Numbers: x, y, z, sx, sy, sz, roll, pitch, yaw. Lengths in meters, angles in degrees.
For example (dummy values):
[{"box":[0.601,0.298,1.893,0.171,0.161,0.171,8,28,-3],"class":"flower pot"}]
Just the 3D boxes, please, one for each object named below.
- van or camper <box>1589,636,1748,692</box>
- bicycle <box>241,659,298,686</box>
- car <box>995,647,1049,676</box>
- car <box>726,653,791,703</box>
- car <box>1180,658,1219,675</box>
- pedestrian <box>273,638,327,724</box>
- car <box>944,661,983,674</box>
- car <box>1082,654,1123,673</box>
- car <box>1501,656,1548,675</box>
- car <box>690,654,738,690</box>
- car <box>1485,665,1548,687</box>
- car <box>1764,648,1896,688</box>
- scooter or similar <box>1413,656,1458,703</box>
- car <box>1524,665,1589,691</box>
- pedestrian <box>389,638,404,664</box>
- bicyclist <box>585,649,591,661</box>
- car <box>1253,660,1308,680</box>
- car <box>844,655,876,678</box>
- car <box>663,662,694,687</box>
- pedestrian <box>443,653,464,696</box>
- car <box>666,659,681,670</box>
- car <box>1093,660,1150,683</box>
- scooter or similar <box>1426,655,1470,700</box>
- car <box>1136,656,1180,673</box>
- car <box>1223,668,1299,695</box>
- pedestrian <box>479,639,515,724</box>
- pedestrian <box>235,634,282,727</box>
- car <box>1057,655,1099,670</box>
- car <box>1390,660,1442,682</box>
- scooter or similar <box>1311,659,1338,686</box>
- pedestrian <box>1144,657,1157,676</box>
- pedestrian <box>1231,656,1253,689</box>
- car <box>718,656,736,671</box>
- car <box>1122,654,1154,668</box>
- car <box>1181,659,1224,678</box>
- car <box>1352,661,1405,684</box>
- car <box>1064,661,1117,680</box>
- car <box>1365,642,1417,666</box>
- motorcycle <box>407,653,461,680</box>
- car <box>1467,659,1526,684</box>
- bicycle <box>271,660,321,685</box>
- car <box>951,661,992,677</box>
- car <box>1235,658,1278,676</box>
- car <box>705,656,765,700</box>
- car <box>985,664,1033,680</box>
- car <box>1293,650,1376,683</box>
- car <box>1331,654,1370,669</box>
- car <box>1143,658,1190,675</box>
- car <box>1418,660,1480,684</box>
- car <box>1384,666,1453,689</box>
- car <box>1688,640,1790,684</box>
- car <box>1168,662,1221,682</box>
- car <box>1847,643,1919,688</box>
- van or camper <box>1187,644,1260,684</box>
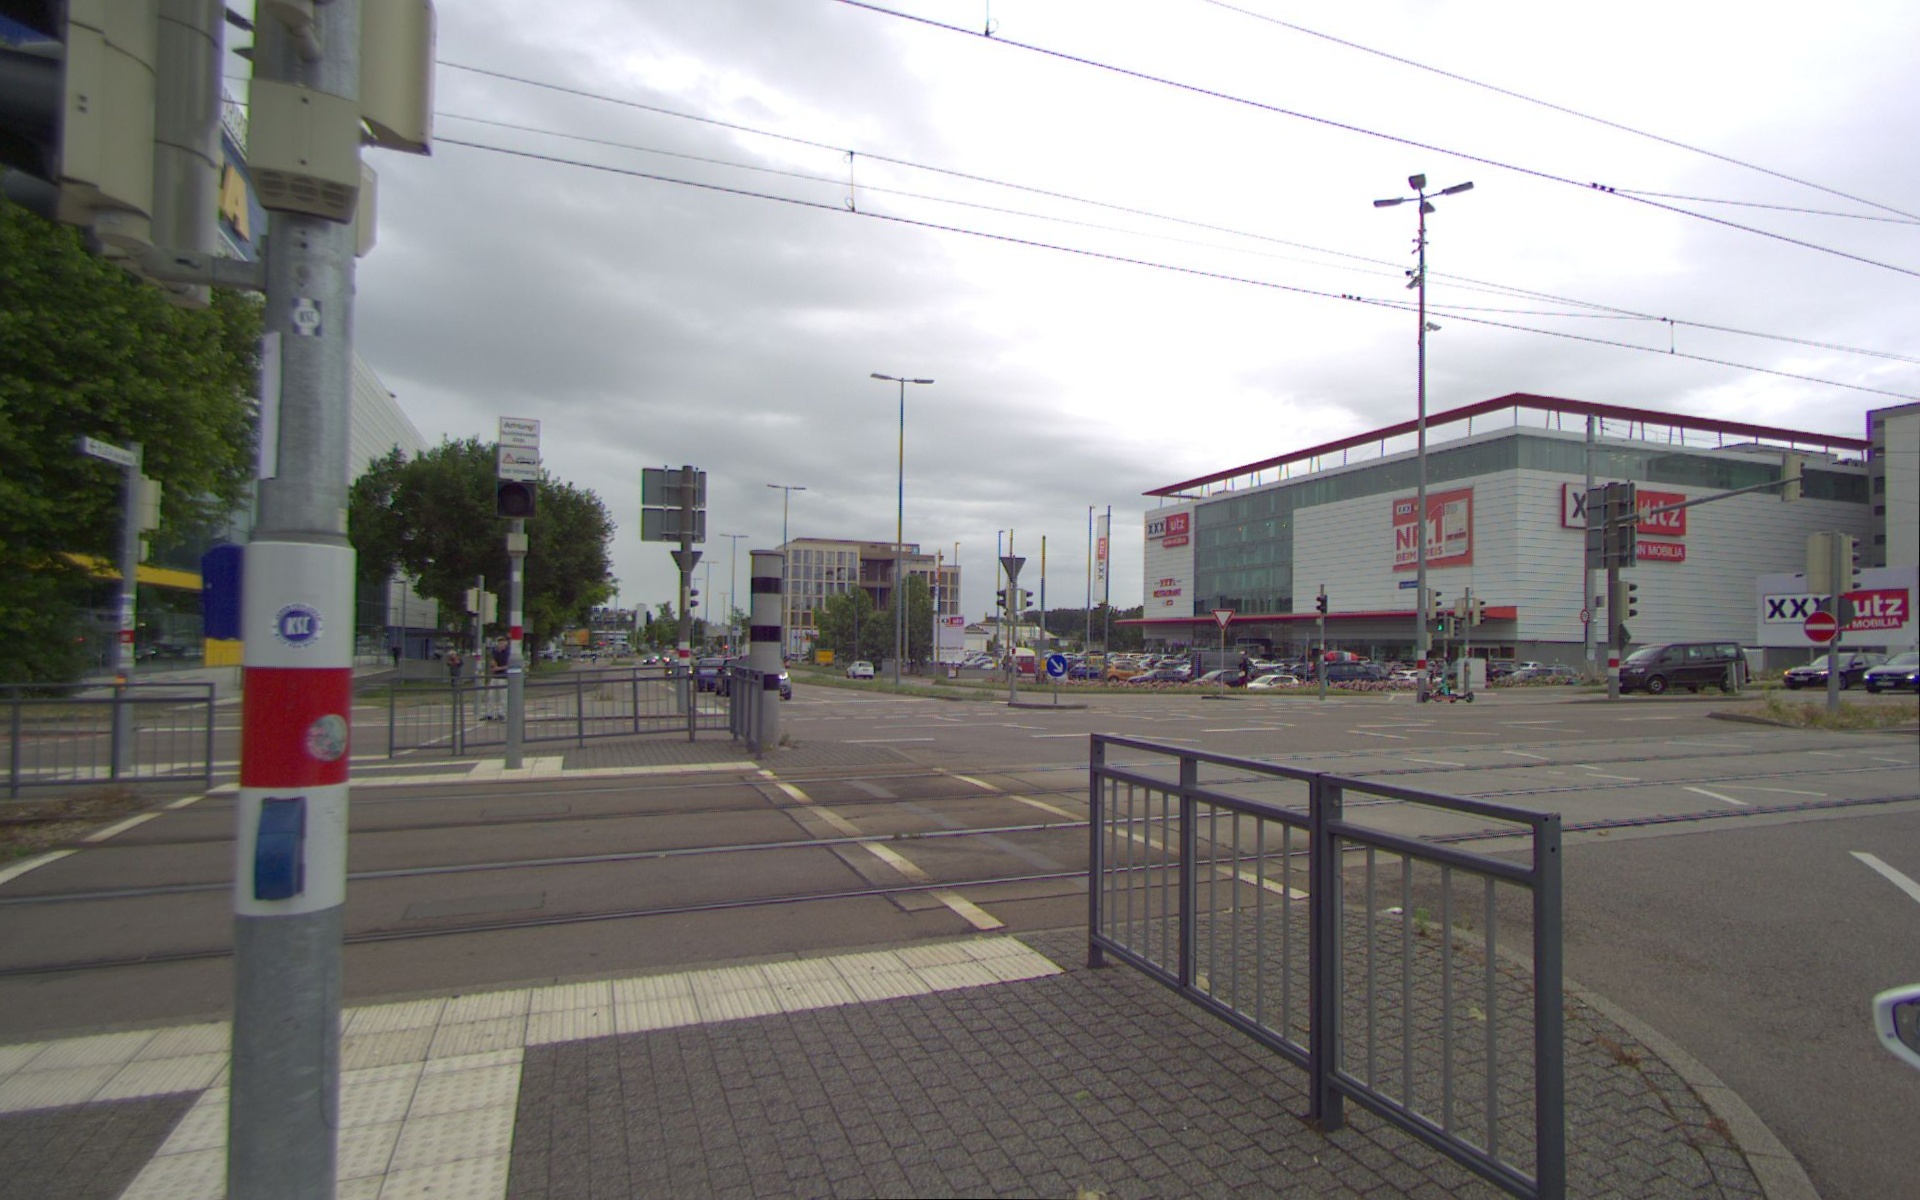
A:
[{"box":[27.318,2.498,38.829,4.662,2.039,2.124,-1,-5,-4],"class":"van or camper"},{"box":[-32.095,3.386,46.706,1.993,1.171,0.591,4,-4,-22],"class":"bicycle"},{"box":[5.901,5.844,95.385,4.664,2.613,2.162,2,-1,-18],"class":"car"},{"box":[-6.685,2.515,33.131,1.584,1.522,3.195,0,-3,-21],"class":"car"},{"box":[27.030,7.503,113.201,3.939,1.844,1.779,2,-4,-20],"class":"car"},{"box":[-13.598,1.666,20.705,0.665,1.734,0.764,2,-3,-16],"class":"pedestrian"},{"box":[0.373,7.480,111.549,4.006,1.368,1.826,2,-1,-21],"class":"car"},{"box":[14.262,6.395,100.744,3.690,1.791,1.727,2,-1,-18],"class":"car"},{"box":[50.409,5.866,89.711,3.559,1.580,1.644,1,-2,-19],"class":"car"},{"box":[-10.844,3.132,44.073,1.583,1.463,4.126,0,-3,-20],"class":"car"},{"box":[39.451,5.349,71.224,3.943,1.536,1.823,2,-4,-23],"class":"car"},{"box":[34.815,2.711,40.220,4.249,1.483,1.963,1,-2,-15],"class":"car"},{"box":[13.182,2.198,27.853,0.999,1.272,0.464,0,-4,-7],"class":"scooter or similar"},{"box":[40.919,5.338,68.883,3.943,1.687,1.876,2,-3,-23],"class":"car"},{"box":[-39.308,3.538,70.076,0.669,1.768,0.805,3,-3,-20],"class":"pedestrian"},{"box":[-50.825,7.568,137.174,0.633,1.597,0.996,3,-3,-20],"class":"bicyclist"},{"box":[26.126,5.715,81.904,3.938,1.576,1.848,2,-4,-19],"class":"car"},{"box":[-8.821,5.884,88.635,1.968,1.775,4.164,2,-1,-17],"class":"car"},{"box":[-18.358,4.811,65.442,1.583,1.517,4.020,0,-3,-20],"class":"car"},{"box":[-19.563,2.883,38.801,0.626,1.663,0.805,2,-5,-22],"class":"pedestrian"},{"box":[-40.835,9.219,143.232,1.907,1.538,4.166,-1,-3,-19],"class":"car"},{"box":[12.294,5.434,76.528,3.934,1.664,1.810,2,-3,-15],"class":"car"},{"box":[14.012,2.224,28.830,1.094,1.272,0.320,0,-4,-7],"class":"scooter or similar"},{"box":[19.796,6.431,100.259,3.937,1.656,1.780,2,-4,-18],"class":"car"},{"box":[17.894,4.864,59.695,4.059,1.465,1.866,2,-1,-21],"class":"car"},{"box":[-10.102,1.777,21.941,0.655,1.787,0.684,-1,-5,-23],"class":"pedestrian"},{"box":[-14.149,1.620,20.248,0.669,1.820,0.758,4,-5,-37],"class":"pedestrian"},{"box":[12.416,6.551,105.374,3.940,1.554,1.880,3,-3,-21],"class":"car"},{"box":[39.620,6.170,87.243,3.936,1.842,1.815,1,-3,-18],"class":"car"},{"box":[17.253,3.413,47.597,1.145,1.248,0.345,-2,-5,32],"class":"scooter or similar"},{"box":[17.849,6.222,94.125,0.928,1.742,0.881,2,-1,-21],"class":"pedestrian"},{"box":[14.106,3.618,50.287,0.773,1.617,0.712,2,-6,-26],"class":"pedestrian"},{"box":[-34.642,9.439,149.411,1.972,2.040,3.978,1,-3,-24],"class":"car"},{"box":[22.001,7.567,124.371,3.521,1.607,1.735,2,-3,-15],"class":"car"},{"box":[24.358,6.899,100.866,3.937,1.844,1.780,2,-4,-18],"class":"car"},{"box":[35.455,6.111,85.187,3.938,1.886,1.826,1,-3,-19],"class":"car"},{"box":[10.527,5.707,81.050,3.938,1.474,1.808,2,-4,-19],"class":"car"},{"box":[38.350,4.785,89.411,3.937,2.040,1.992,1,-3,-19],"class":"car"},{"box":[-28.891,3.649,55.164,2.473,1.373,0.793,5,-4,-32],"class":"motorcycle"},{"box":[42.701,5.713,80.022,3.936,1.954,1.943,1,-3,-18],"class":"car"},{"box":[-33.303,3.629,50.380,2.001,1.171,0.588,5,-4,-33],"class":"bicycle"},{"box":[1.259,7.445,107.997,4.003,1.561,1.757,2,-1,-18],"class":"car"},{"box":[29.835,6.733,101.096,3.941,1.676,1.826,2,-4,-21],"class":"car"},{"box":[-8.587,2.902,38.132,1.642,1.522,4.046,1,-3,-21],"class":"car"},{"box":[4.779,7.067,98.753,4.320,1.480,1.953,2,-1,-18],"class":"car"},{"box":[25.401,4.488,68.206,4.967,2.193,2.116,1,-3,-15],"class":"car"},{"box":[43.170,6.806,110.969,3.748,1.574,1.822,2,-1,-21],"class":"car"},{"box":[20.089,6.454,97.705,4.186,1.488,1.732,3,-1,-18],"class":"car"},{"box":[37.985,5.594,78.029,4.156,1.804,1.858,1,-3,-18],"class":"car"},{"box":[30.833,5.199,67.523,4.145,1.495,1.739,2,-4,-18],"class":"car"},{"box":[58.540,4.663,75.511,6.843,3.029,2.757,2,-1,-19],"class":"car"},{"box":[19.741,6.081,84.539,3.937,1.572,1.857,2,-4,-18],"class":"car"},{"box":[33.392,2.276,34.953,4.137,1.483,1.832,1,-1,-15],"class":"car"},{"box":[20.837,5.062,79.581,5.303,3.022,1.987,1,-3,-12],"class":"van or camper"}]
